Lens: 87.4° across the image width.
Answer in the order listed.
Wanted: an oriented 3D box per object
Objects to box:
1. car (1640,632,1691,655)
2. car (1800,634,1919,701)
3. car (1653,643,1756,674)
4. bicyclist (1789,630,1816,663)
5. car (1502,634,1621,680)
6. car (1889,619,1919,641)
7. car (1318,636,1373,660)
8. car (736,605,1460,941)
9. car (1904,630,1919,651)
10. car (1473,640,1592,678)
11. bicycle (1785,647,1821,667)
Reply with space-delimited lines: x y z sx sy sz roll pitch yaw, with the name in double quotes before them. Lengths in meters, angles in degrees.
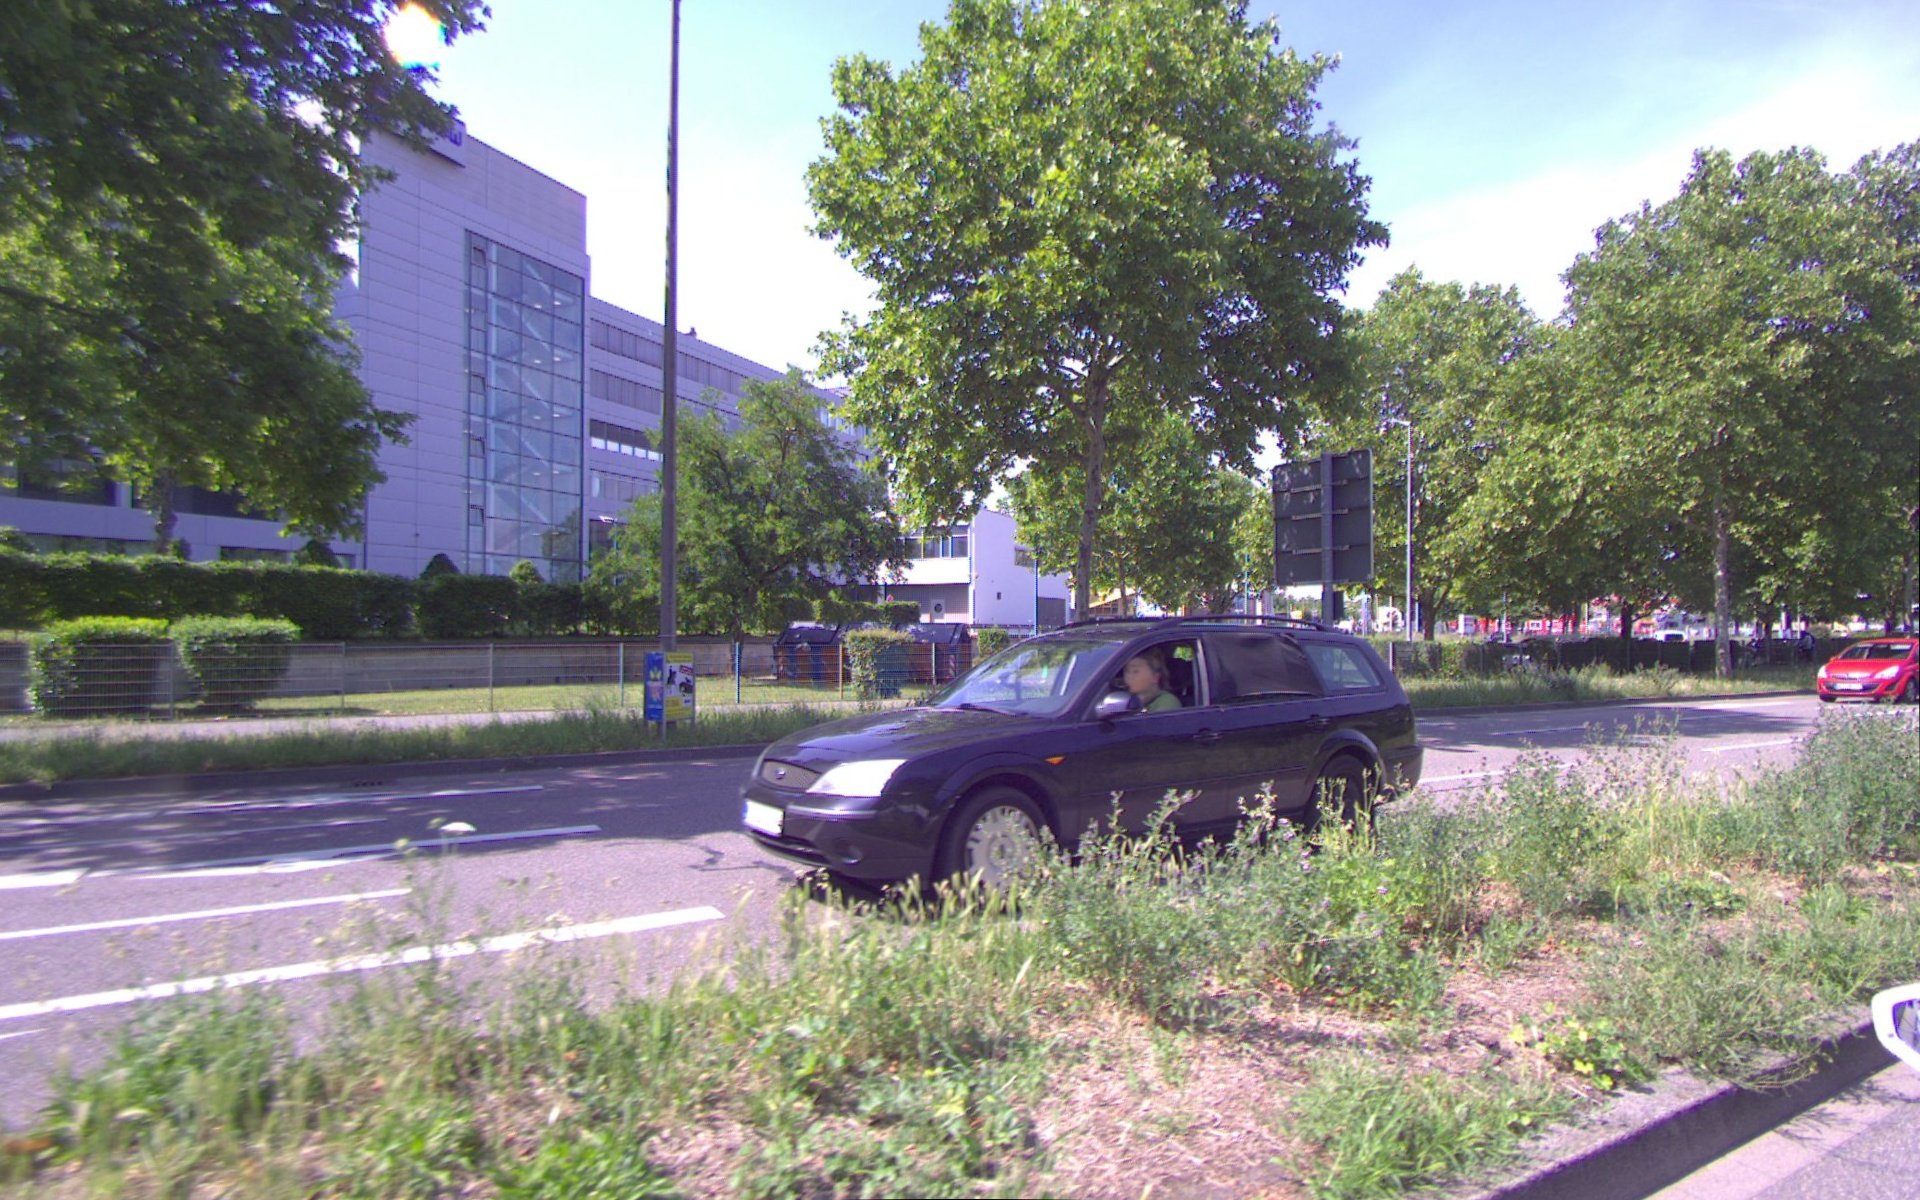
"car" 53.548 3.296 76.318 1.961 1.687 4.845 -1 -2 21
"car" 22.072 1.565 23.941 3.949 1.481 1.757 1 -3 -28
"car" 38.303 2.983 51.750 1.787 1.432 3.961 3 -2 -35
"bicyclist" 39.149 2.166 46.684 0.931 1.504 0.678 1 -2 -30
"car" 26.289 2.473 44.054 2.128 1.847 3.974 2 -1 -26
"car" 110.477 3.475 116.622 1.960 2.566 4.642 -1 -2 16
"car" 28.047 3.443 73.168 1.774 1.525 3.989 -2 0 -14
"car" 1.074 0.850 6.484 4.621 1.487 1.762 1 -3 -33
"car" 76.088 3.149 77.705 1.695 1.624 4.148 1 -2 -18
"car" 23.835 2.412 41.952 1.751 1.483 3.970 1 -2 -29
"bicycle" 39.211 2.633 46.708 1.904 0.877 0.686 1 -2 -31
